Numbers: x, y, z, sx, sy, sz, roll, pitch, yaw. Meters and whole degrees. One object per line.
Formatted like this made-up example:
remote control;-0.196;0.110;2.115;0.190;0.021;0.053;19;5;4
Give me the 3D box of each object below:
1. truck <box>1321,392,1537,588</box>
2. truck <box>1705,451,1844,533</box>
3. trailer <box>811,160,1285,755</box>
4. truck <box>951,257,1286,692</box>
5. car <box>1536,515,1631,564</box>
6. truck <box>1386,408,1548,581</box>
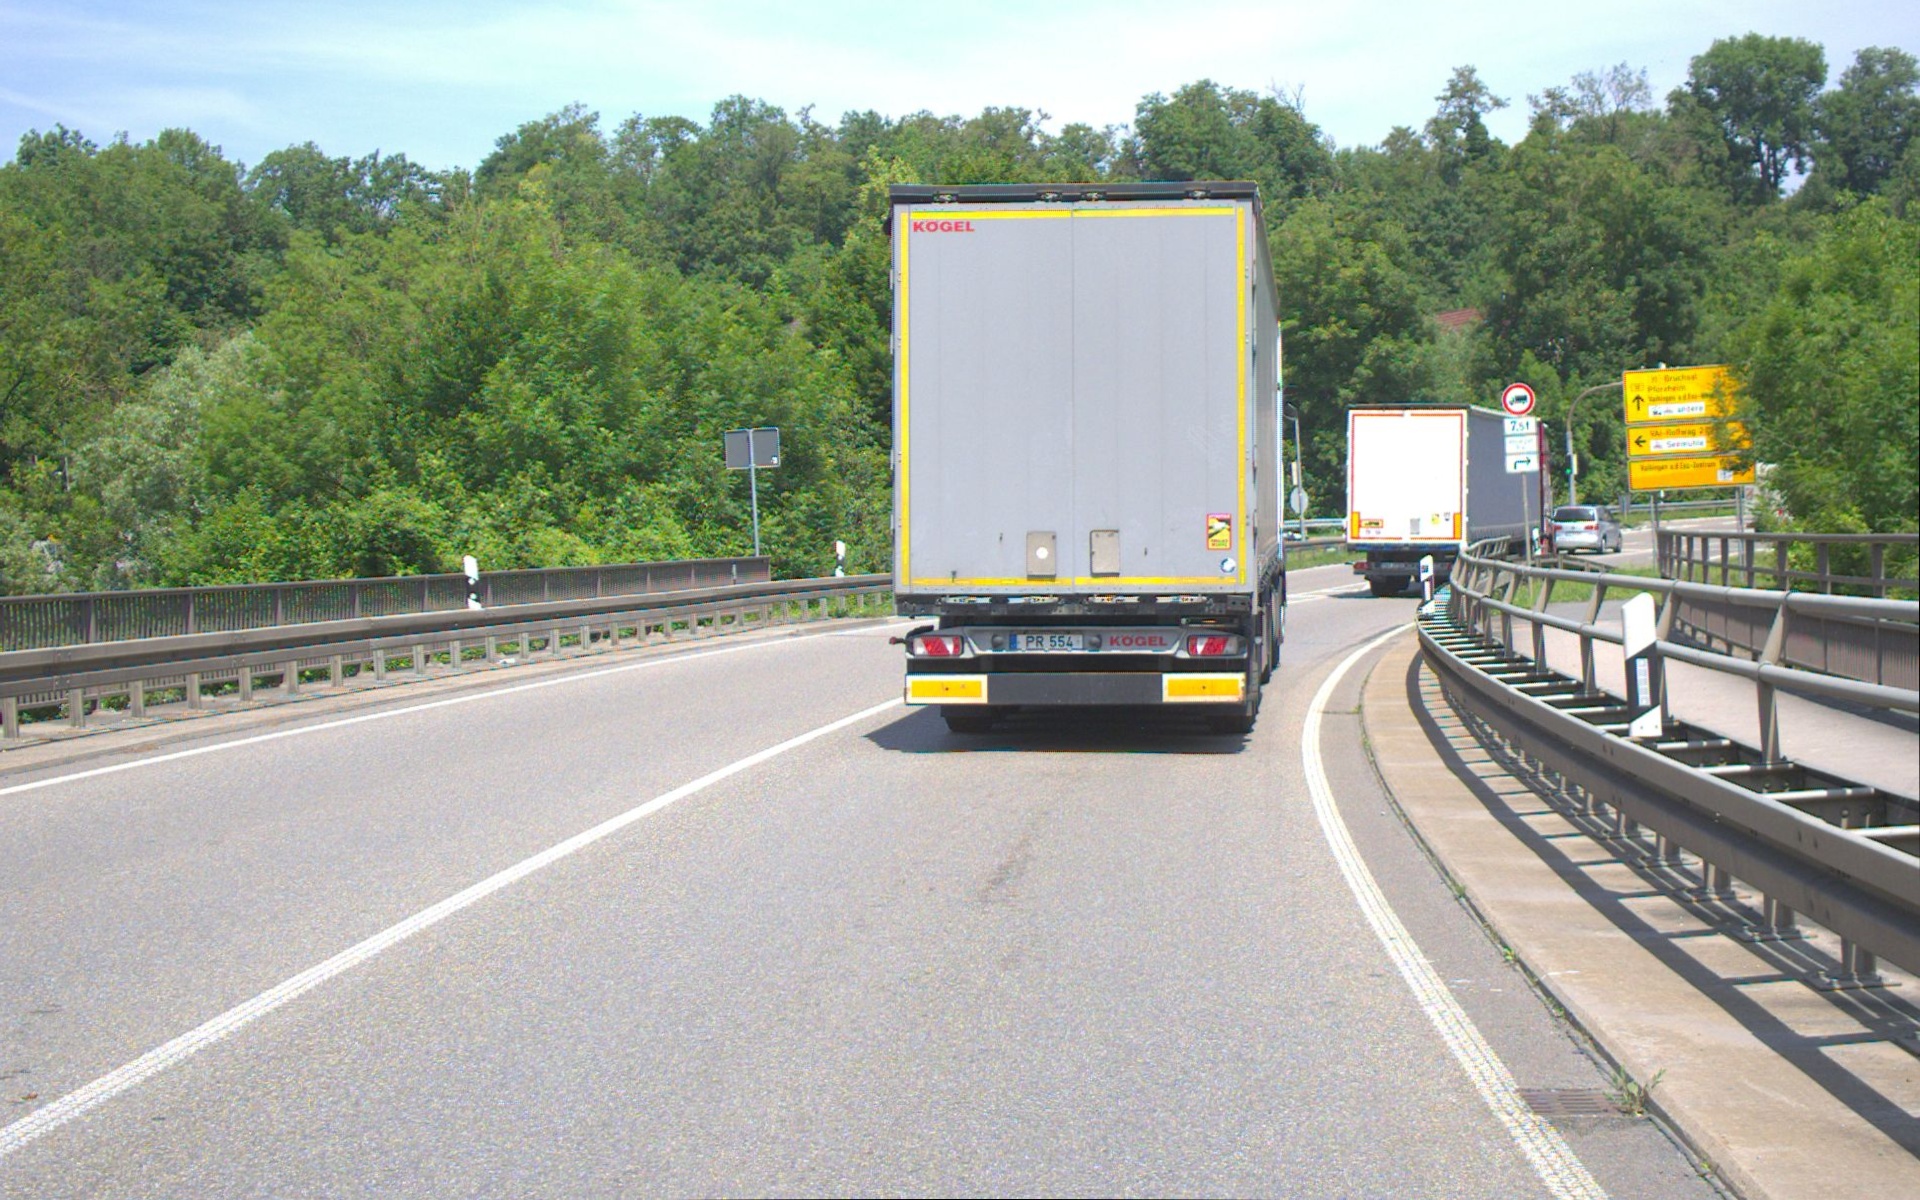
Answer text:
truck;10.605;-2.369;76.535;3.181;4.015;11.737;0;1;16
truck;30.333;-4.045;127.909;2.860;2.937;7.092;1;2;33
trailer;1.181;-1.101;29.692;3.052;4.020;12.556;0;1;6
truck;1.787;-1.240;35.360;3.038;4.020;6.628;0;1;6
car;20.558;-1.985;113.231;1.996;1.514;3.994;1;0;27
truck;12.195;-2.479;82.277;3.171;3.990;5.811;0;1;15
